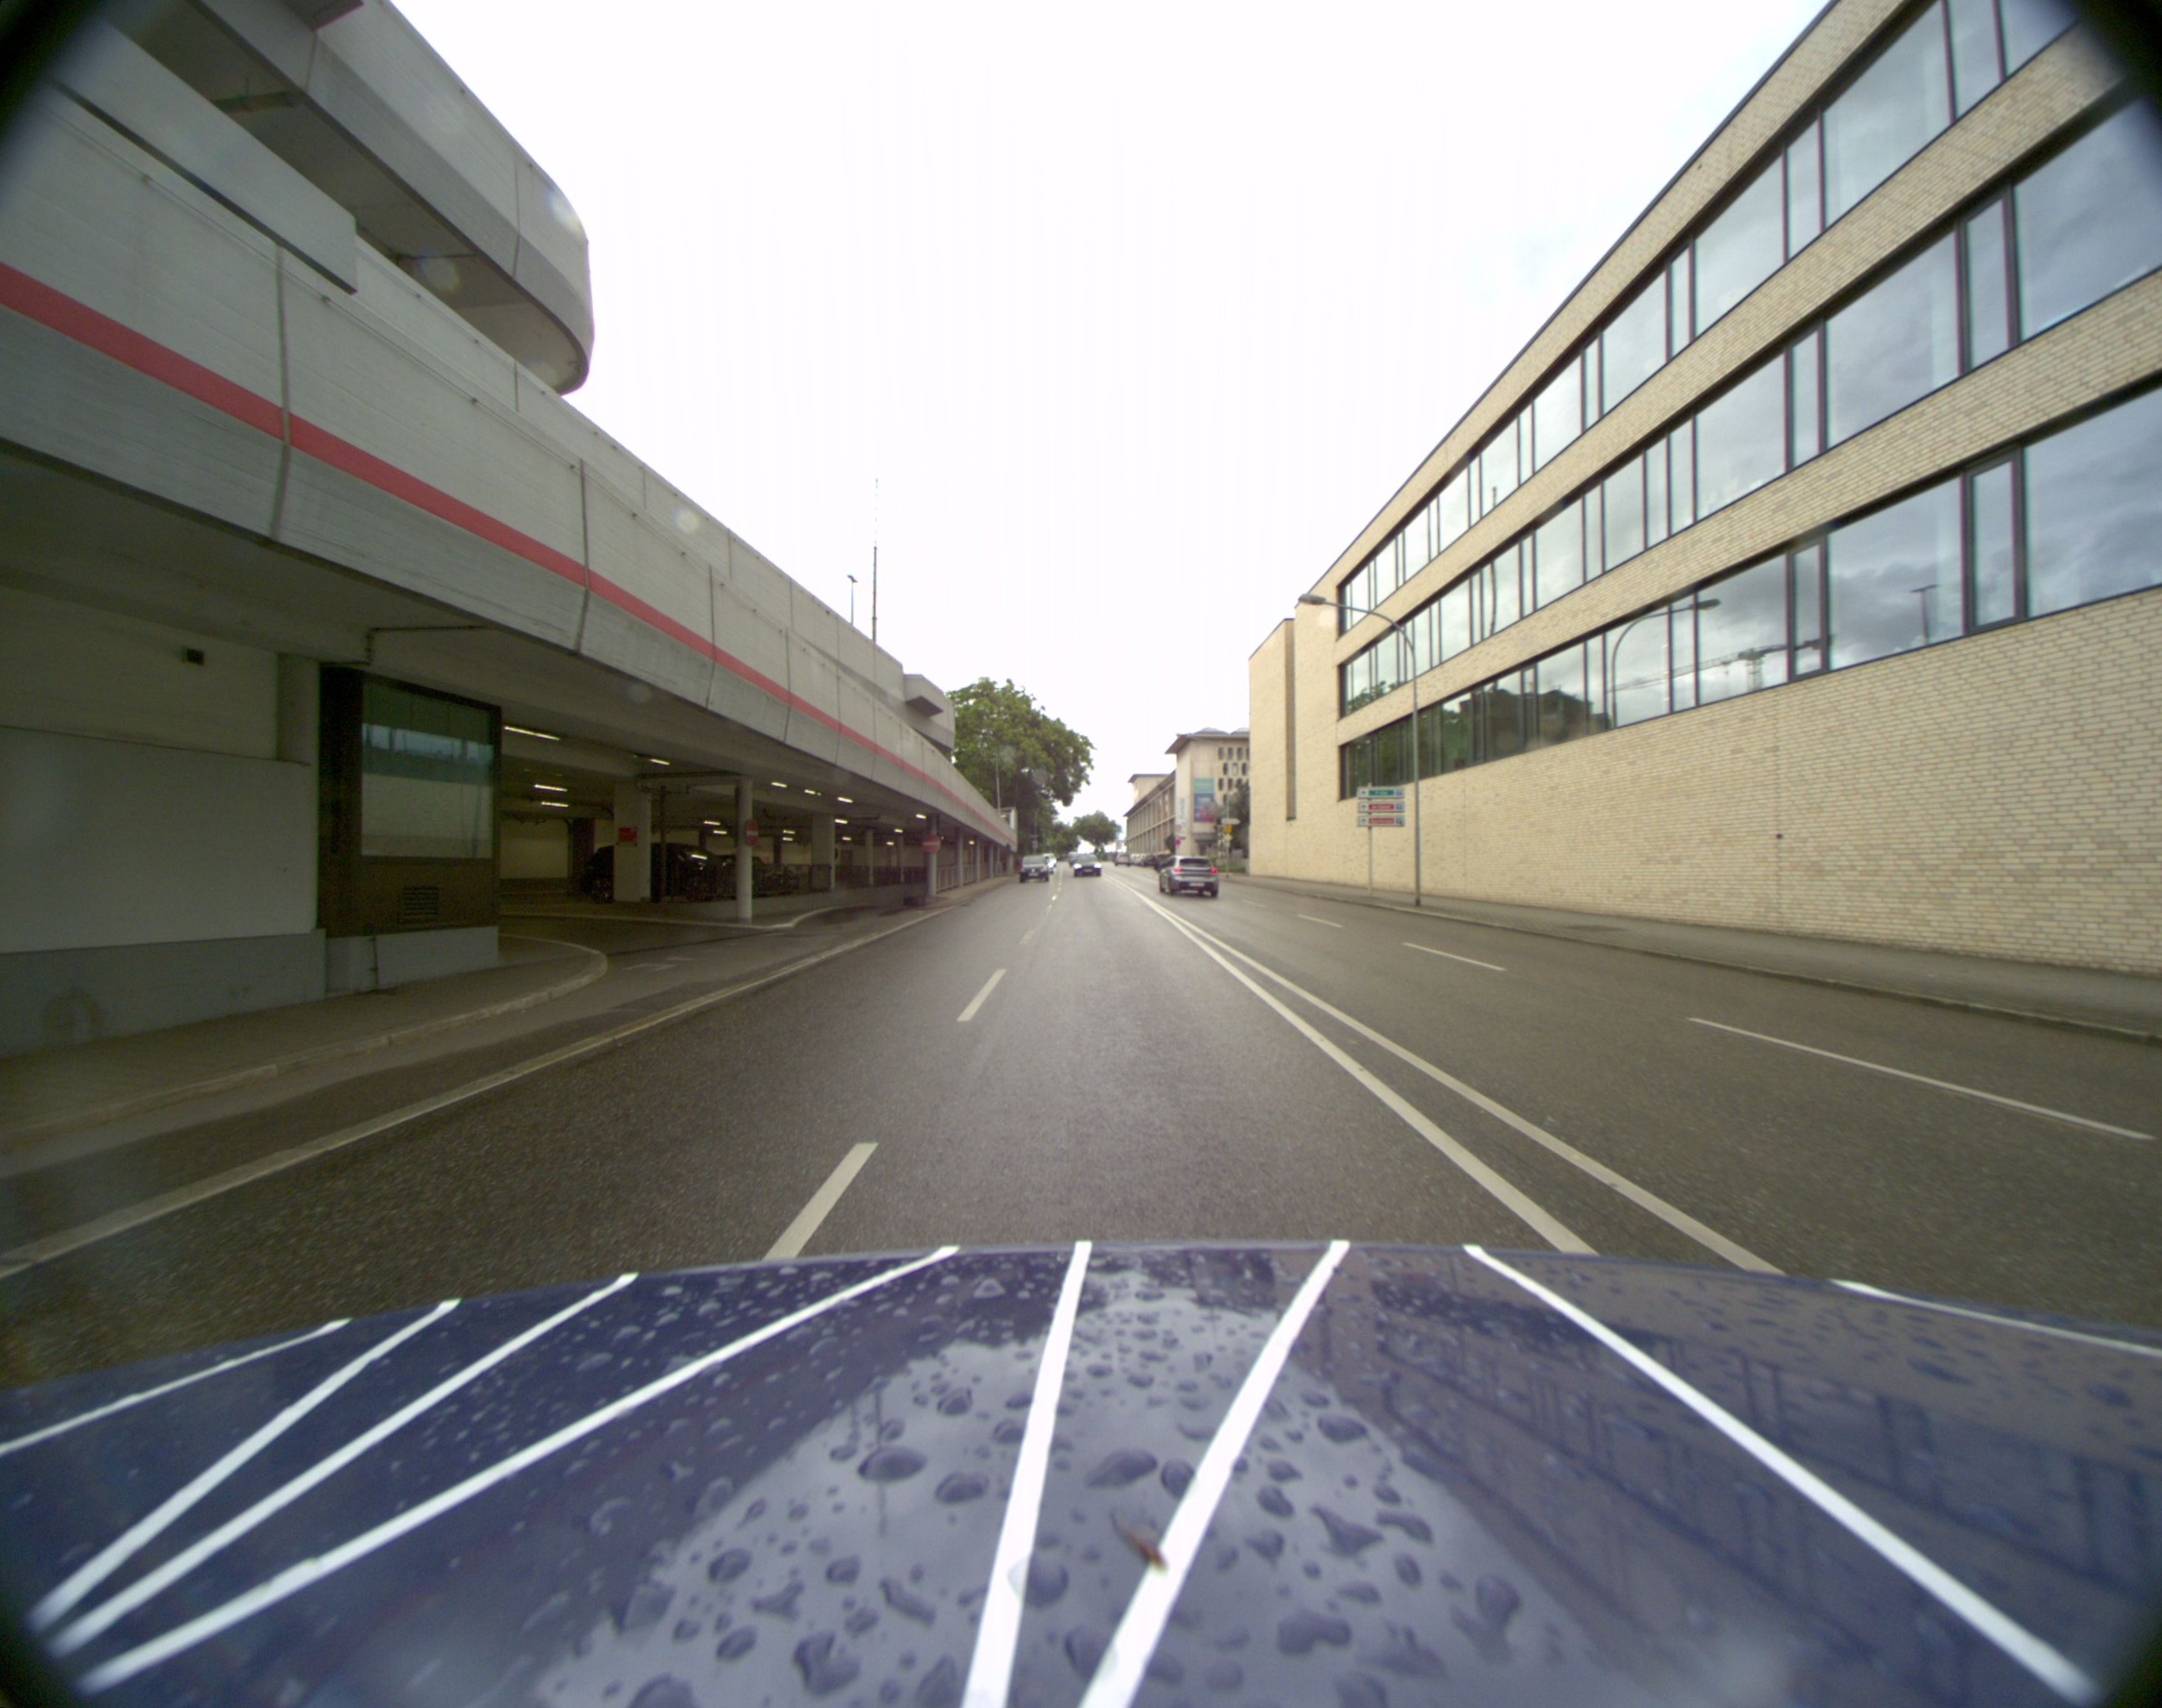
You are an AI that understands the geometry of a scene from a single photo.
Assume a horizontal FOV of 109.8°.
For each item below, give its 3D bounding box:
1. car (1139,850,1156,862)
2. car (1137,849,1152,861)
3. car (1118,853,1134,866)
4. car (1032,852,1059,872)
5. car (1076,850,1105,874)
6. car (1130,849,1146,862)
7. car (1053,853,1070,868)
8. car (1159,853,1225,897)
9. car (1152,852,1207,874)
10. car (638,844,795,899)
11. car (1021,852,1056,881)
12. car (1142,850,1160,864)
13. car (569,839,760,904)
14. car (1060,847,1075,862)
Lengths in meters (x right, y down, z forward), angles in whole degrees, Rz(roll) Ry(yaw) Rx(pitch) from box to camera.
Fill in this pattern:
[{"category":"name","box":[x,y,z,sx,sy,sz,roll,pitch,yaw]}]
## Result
[{"category":"car","box":[8.555,0.263,98.373,1.800,1.516,4.056,-2,0,1]},{"category":"car","box":[8.673,0.162,103.795,1.800,1.516,4.056,-2,0,1]},{"category":"car","box":[5.731,0.668,96.696,1.800,1.516,4.056,-2,0,1]},{"category":"car","box":[-2.780,0.612,60.411,1.915,1.443,4.036,-2,1,0]},{"category":"car","box":[0.634,0.529,50.867,1.852,1.516,3.990,-2,0,1]},{"category":"car","box":[8.638,0.230,115.058,1.998,1.819,3.999,-2,1,0]},{"category":"car","box":[-2.297,0.722,88.953,1.727,1.628,3.999,-2,1,1]},{"category":"car","box":[3.985,0.710,27.940,1.745,1.462,3.881,1,1,-1]},{"category":"car","box":[8.038,0.727,61.849,3.989,1.652,1.864,-1,1,32]},{"category":"car","box":[-11.878,0.627,24.899,4.251,1.650,2.003,-1,-3,10]},{"category":"car","box":[-2.398,0.701,43.853,1.683,1.516,3.990,-2,0,1]},{"category":"car","box":[8.548,0.383,92.765,1.800,1.516,4.056,-2,0,1]},{"category":"car","box":[-11.350,0.530,20.874,4.251,1.650,2.003,-1,-3,10]},{"category":"car","box":[-2.012,0.050,114.311,1.998,2.002,3.999,-2,1,0]}]
